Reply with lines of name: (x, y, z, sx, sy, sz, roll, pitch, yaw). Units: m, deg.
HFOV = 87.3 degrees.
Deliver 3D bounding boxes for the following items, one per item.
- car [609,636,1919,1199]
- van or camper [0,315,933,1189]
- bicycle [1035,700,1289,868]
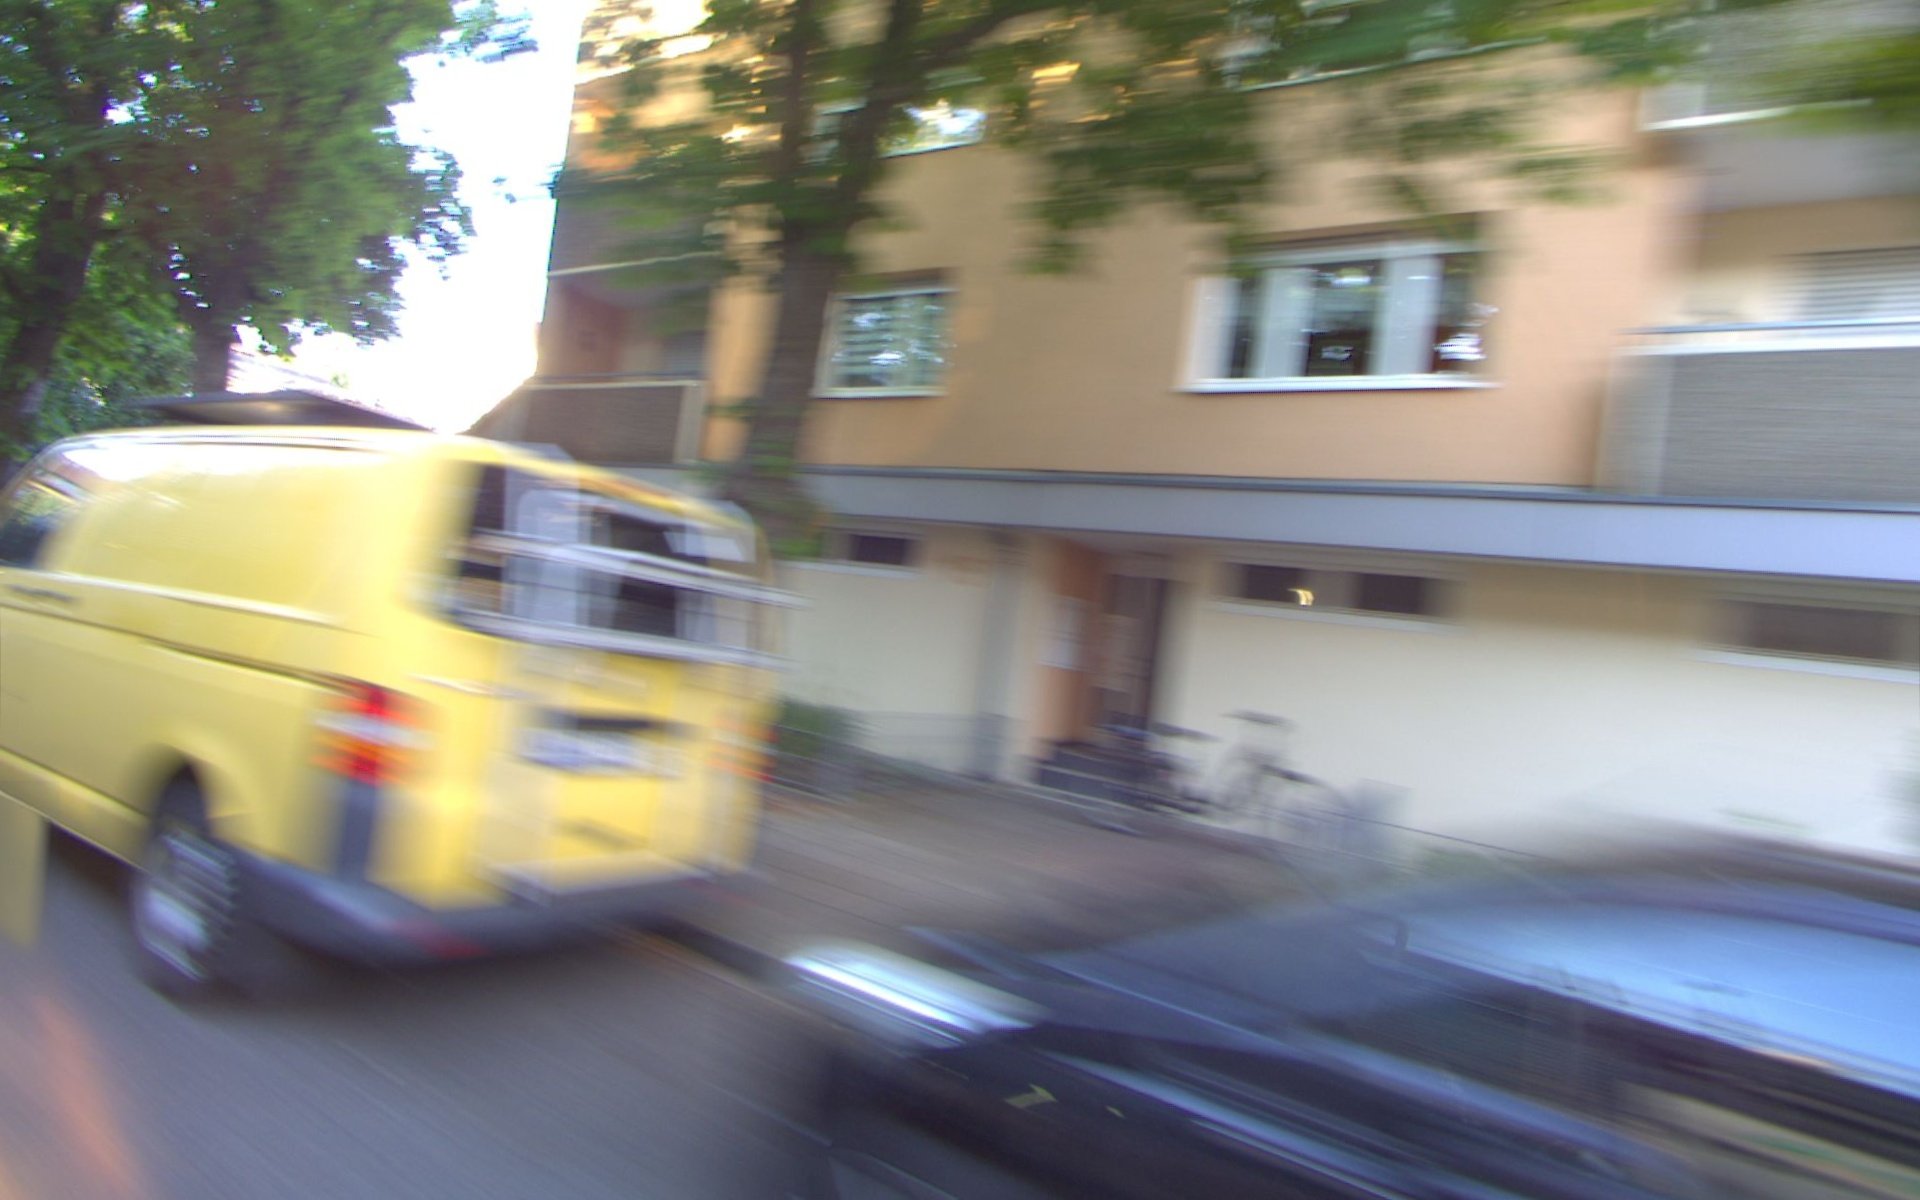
car: (1.382, 1.068, 1.692, 3.936, 1.397, 1.609, 7, -2, 34)
van or camper: (-2.897, 0.193, 4.609, 5.005, 2.120, 2.069, 8, -2, 31)
bicycle: (1.575, 1.409, 7.985, 1.804, 0.932, 0.524, 8, -1, 32)
